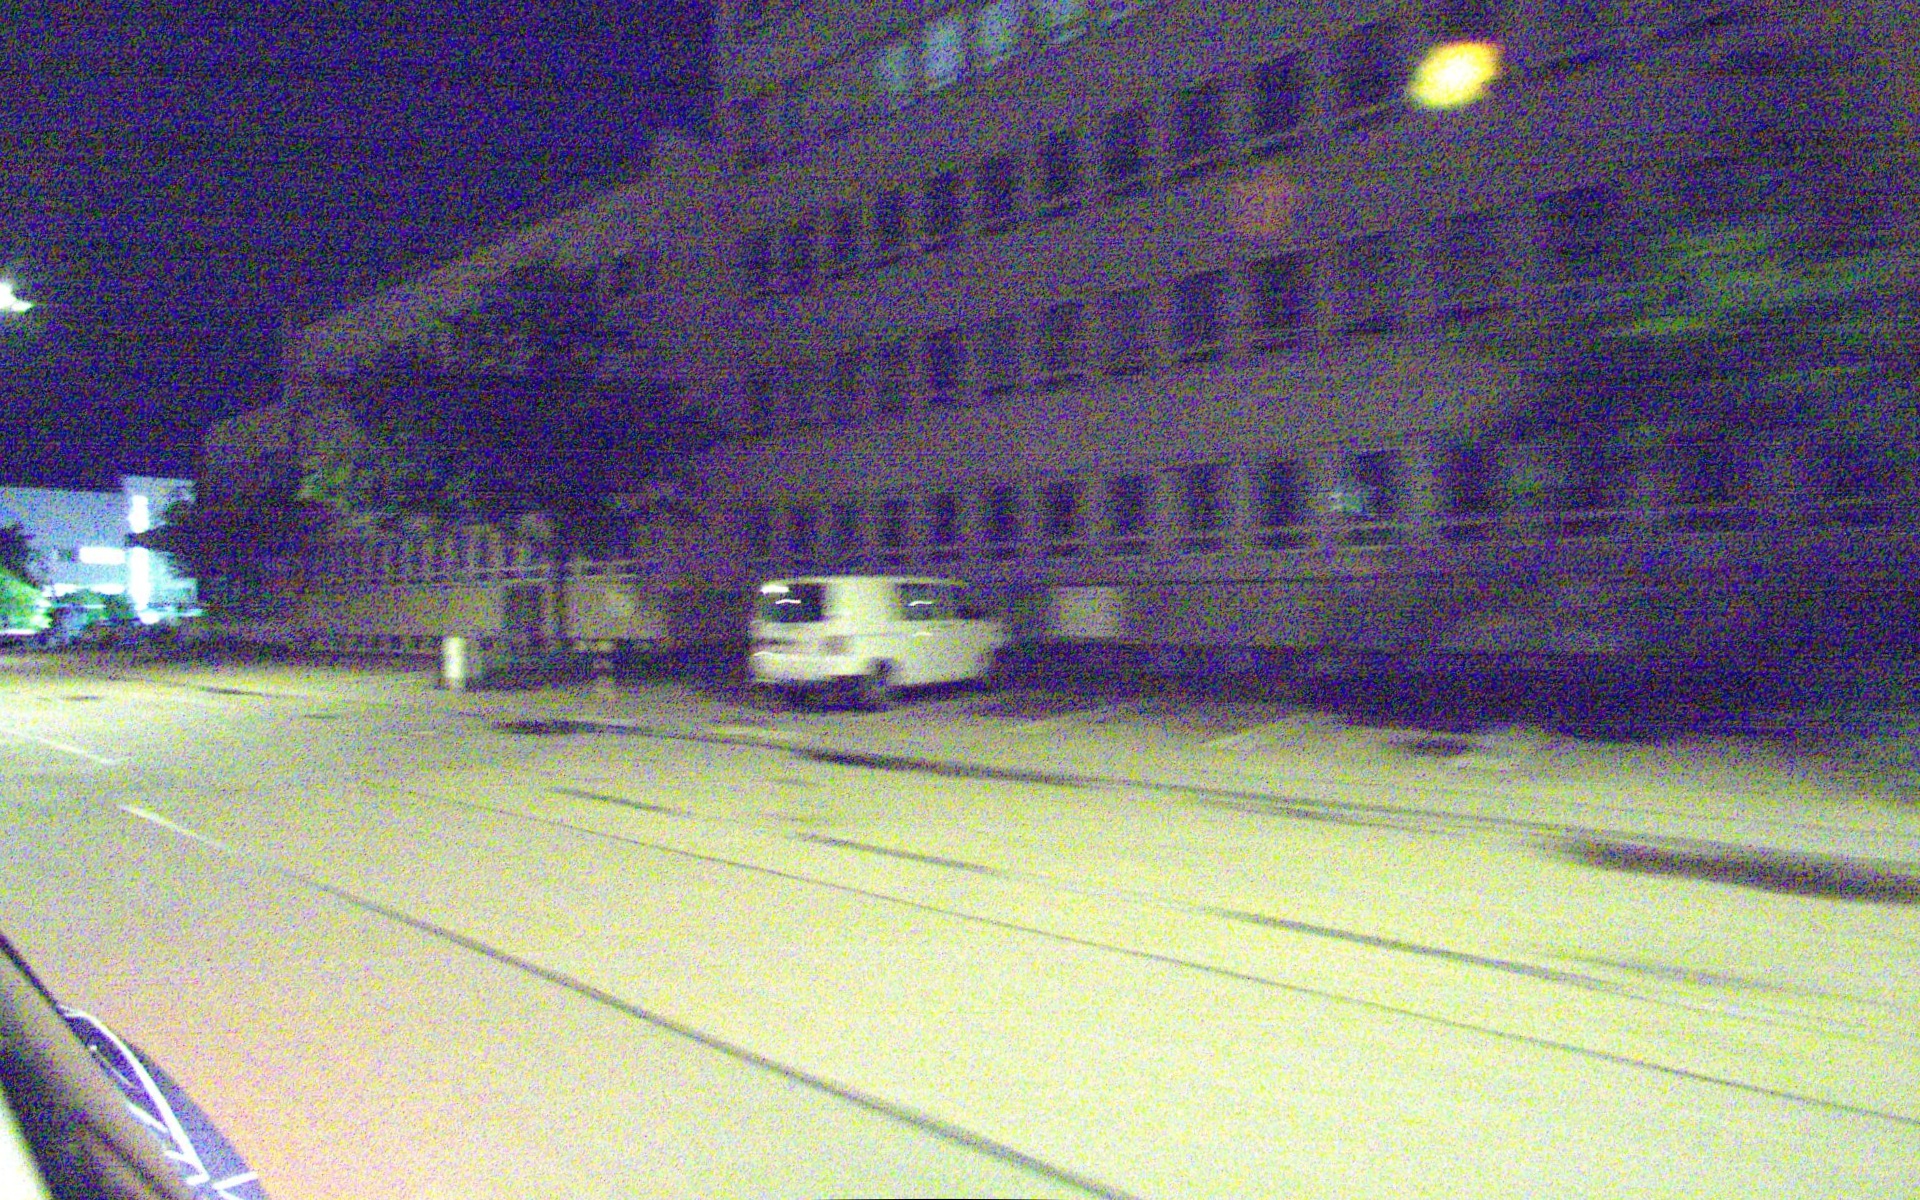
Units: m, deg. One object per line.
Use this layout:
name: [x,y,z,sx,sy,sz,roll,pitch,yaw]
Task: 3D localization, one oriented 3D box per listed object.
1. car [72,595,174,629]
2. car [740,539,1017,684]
car: [-46.469,0.639,56.234,1.802,1.474,3.955,-1,4,34]
car: [-1.150,0.099,16.224,1.997,1.987,4.392,-1,1,37]
